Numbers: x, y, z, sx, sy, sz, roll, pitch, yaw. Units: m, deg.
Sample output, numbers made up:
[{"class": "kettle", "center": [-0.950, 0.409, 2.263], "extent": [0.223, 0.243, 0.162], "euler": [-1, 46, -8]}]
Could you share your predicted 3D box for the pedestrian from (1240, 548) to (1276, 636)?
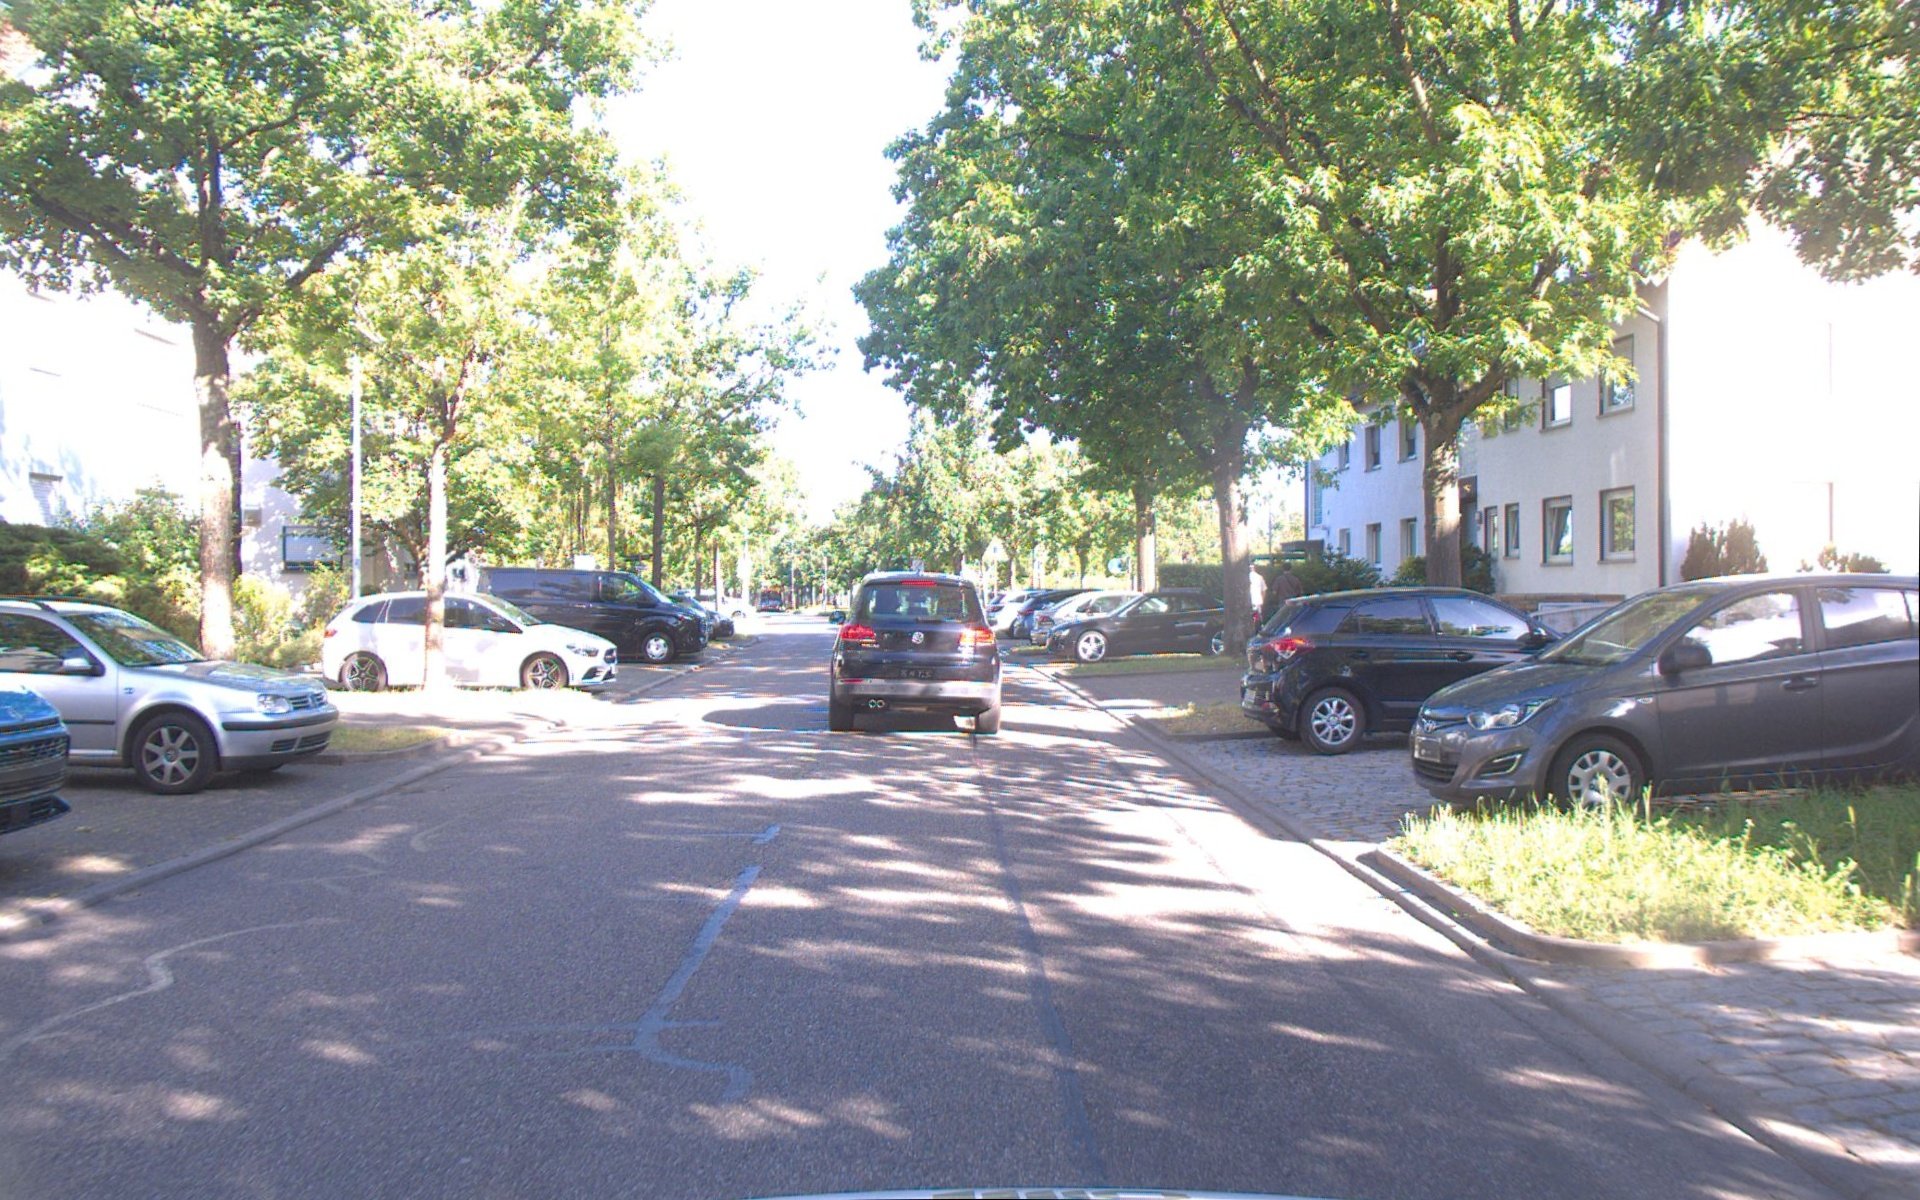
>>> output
[{"class": "pedestrian", "center": [6.545, -0.166, 36.394], "extent": [0.595, 1.906, 0.924], "euler": [-1, -1, 0]}]

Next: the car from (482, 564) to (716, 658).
[{"class": "car", "center": [-7.741, 0.218, 35.846], "extent": [4.684, 1.950, 2.017], "euler": [1, 1, -4]}]

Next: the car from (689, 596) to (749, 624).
[{"class": "car", "center": [-16.619, 0.699, 114.127], "extent": [3.939, 1.676, 1.809], "euler": [-2, 2, -7]}]

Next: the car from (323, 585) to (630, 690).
[{"class": "car", "center": [-7.350, 0.552, 25.433], "extent": [4.189, 1.504, 1.768], "euler": [1, 0, -2]}]

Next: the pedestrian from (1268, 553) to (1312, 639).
[{"class": "pedestrian", "center": [7.324, -0.086, 36.711], "extent": [0.818, 1.860, 0.710], "euler": [-1, -1, 0]}]

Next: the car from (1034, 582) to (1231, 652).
[{"class": "car", "center": [3.826, 0.367, 37.212], "extent": [4.190, 1.439, 1.796], "euler": [-1, 0, -2]}]

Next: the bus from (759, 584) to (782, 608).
[{"class": "bus", "center": [-24.366, -0.494, 213.068], "extent": [2.872, 3.056, 5.729], "euler": [-1, 0, -6]}]

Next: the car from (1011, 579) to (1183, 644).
[{"class": "car", "center": [3.445, 0.282, 42.163], "extent": [4.190, 1.529, 1.796], "euler": [-1, 1, -2]}]

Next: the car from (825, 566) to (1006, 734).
[{"class": "car", "center": [-0.414, 0.485, 18.475], "extent": [1.800, 1.665, 3.958], "euler": [0, 0, 1]}]

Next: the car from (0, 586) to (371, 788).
[{"class": "car", "center": [-7.163, 0.687, 13.507], "extent": [4.097, 1.518, 1.646], "euler": [-1, -1, -1]}]

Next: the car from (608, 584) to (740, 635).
[{"class": "car", "center": [-8.742, 0.279, 50.792], "extent": [3.779, 1.484, 1.713], "euler": [1, 0, -2]}]

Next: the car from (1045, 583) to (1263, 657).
[{"class": "car", "center": [3.974, 0.400, 34.400], "extent": [4.259, 1.386, 1.873], "euler": [-1, 0, -2]}]

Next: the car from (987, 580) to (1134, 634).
[{"class": "car", "center": [3.051, 0.199, 50.893], "extent": [4.339, 1.517, 1.796], "euler": [-1, 0, -2]}]

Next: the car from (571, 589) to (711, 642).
[{"class": "car", "center": [-9.151, 0.436, 47.694], "extent": [3.743, 1.444, 1.771], "euler": [1, 0, -4]}]

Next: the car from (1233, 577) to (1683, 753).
[{"class": "car", "center": [4.673, 0.594, 15.887], "extent": [3.803, 1.542, 1.660], "euler": [-1, -1, -1]}]

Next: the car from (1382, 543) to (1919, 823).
[{"class": "car", "center": [4.989, 0.493, 10.933], "extent": [3.907, 1.652, 1.756], "euler": [-1, -1, -3]}]

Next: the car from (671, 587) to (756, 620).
[{"class": "car", "center": [-12.543, 0.178, 84.395], "extent": [4.161, 1.651, 1.894], "euler": [-1, 0, -7]}]

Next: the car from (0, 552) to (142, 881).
[{"class": "car", "center": [-7.047, 0.582, 8.755], "extent": [4.432, 1.660, 1.937], "euler": [0, -1, -1]}]
